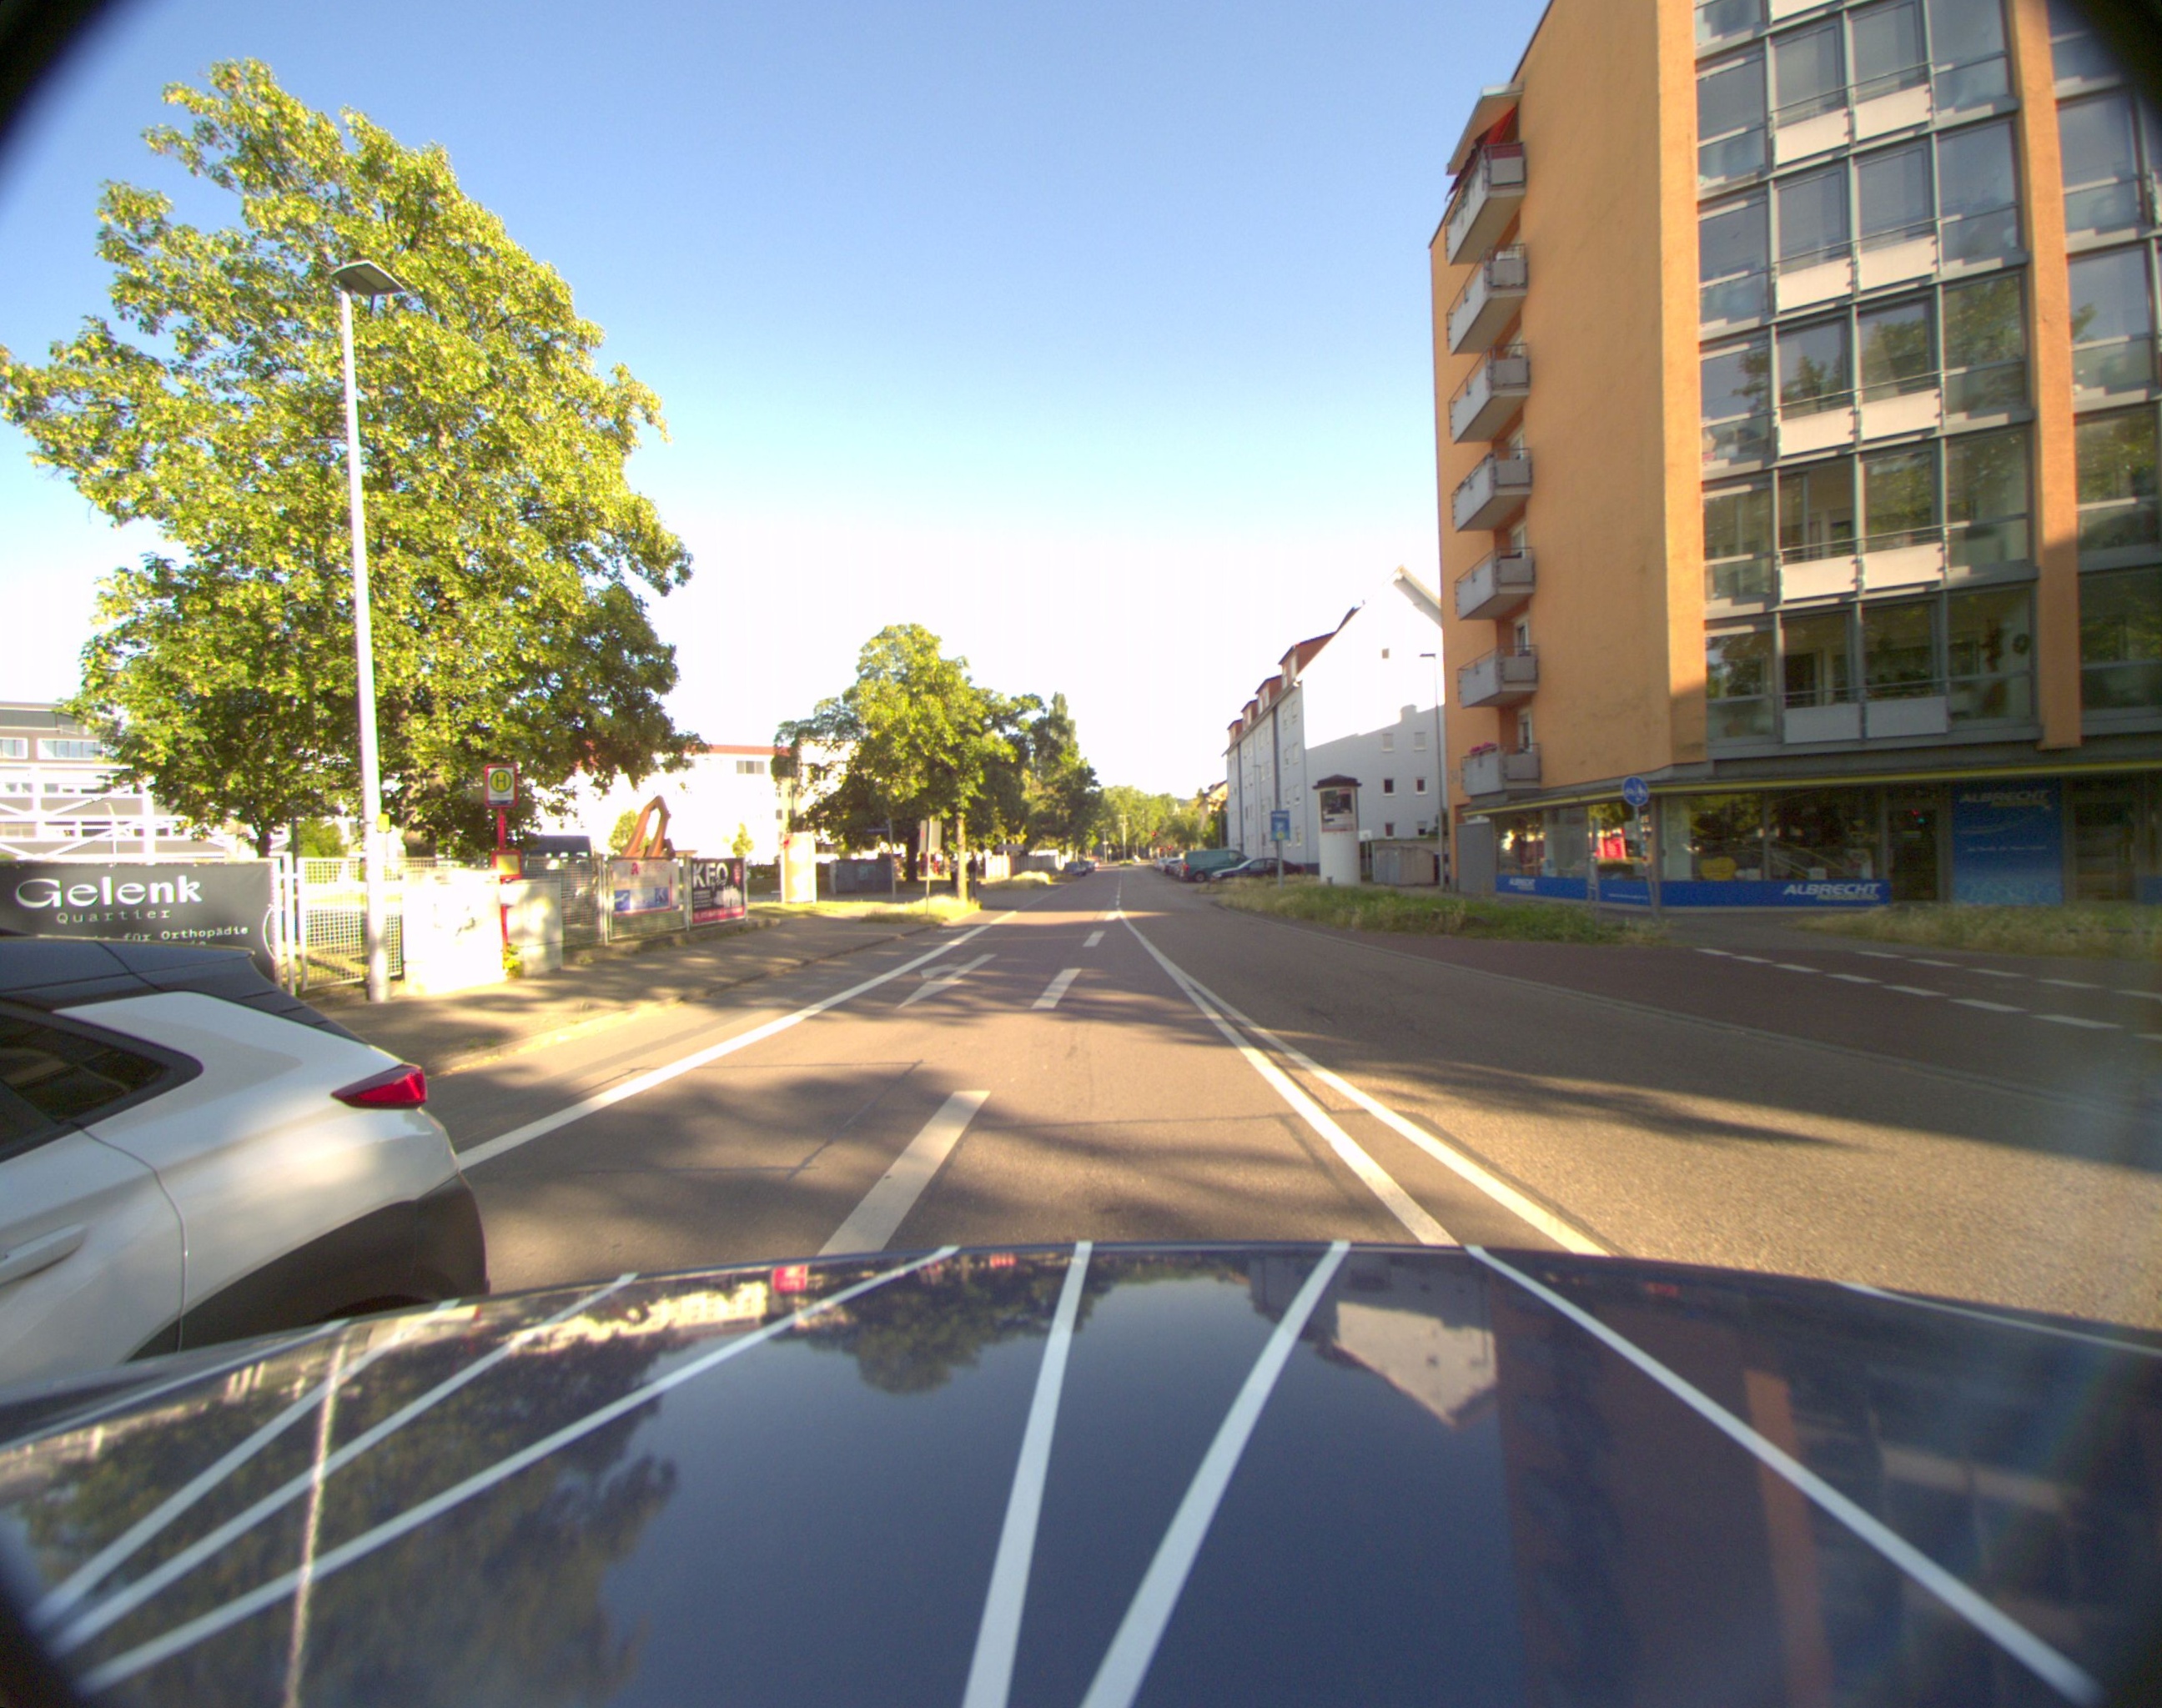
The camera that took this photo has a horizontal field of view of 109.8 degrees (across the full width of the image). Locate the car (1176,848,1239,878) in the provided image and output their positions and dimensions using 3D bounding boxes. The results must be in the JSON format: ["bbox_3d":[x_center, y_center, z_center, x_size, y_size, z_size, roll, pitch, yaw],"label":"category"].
[{"bbox_3d":[8.492,0.581,51.346,3.995,1.805,2.000,-2,1,5],"label":"car"}]

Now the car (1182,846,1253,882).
[{"bbox_3d":[8.186,0.588,45.942,3.996,1.936,2.000,-2,1,4],"label":"car"}]

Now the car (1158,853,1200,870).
[{"bbox_3d":[10.298,0.748,79.935,4.257,1.564,1.867,-2,1,5],"label":"car"}]

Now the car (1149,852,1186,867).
[{"bbox_3d":[10.213,0.636,90.193,4.257,1.564,1.867,-2,1,5],"label":"car"}]

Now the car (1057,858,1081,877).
[{"bbox_3d":[-1.099,1.211,69.599,1.998,1.521,3.999,-2,1,1],"label":"car"}]

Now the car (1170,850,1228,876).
[{"bbox_3d":[8.739,0.656,56.441,4.071,1.741,1.899,-2,1,5],"label":"car"}]

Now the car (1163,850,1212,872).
[{"bbox_3d":[9.266,0.601,66.491,4.117,1.762,1.757,-2,1,5],"label":"car"}]

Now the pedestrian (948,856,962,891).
[{"bbox_3d":[-6.384,0.968,38.530,0.609,1.727,0.638,-2,1,-5],"label":"pedestrian"}]

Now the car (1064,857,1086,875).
[{"bbox_3d":[-0.596,1.143,73.946,1.998,1.521,3.999,-2,1,1],"label":"car"}]

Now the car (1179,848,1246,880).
[{"bbox_3d":[8.348,0.617,48.590,3.995,1.805,2.000,-2,1,5],"label":"car"}]

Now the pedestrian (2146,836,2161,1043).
[{"bbox_3d":[9.627,0.701,6.081,0.903,1.727,1.086,-3,1,-21],"label":"pedestrian"}]

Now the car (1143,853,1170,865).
[{"bbox_3d":[10.456,0.694,105.246,3.538,1.564,1.867,-2,1,5],"label":"car"}]

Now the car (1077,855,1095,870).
[{"bbox_3d":[0.559,0.942,87.980,1.998,1.521,3.999,-2,1,1],"label":"car"}]

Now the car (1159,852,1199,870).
[{"bbox_3d":[10.250,0.717,80.070,4.071,1.741,1.899,-2,1,5],"label":"car"}]

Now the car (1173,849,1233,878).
[{"bbox_3d":[8.563,0.661,53.697,4.059,1.805,1.937,-2,1,5],"label":"car"}]

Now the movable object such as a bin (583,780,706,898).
[{"bbox_3d":[-22.236,-0.706,38.551,3.986,5.447,6.016,-3,1,-42],"label":"movable object such as a bin"}]

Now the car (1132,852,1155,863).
[{"bbox_3d":[9.691,0.578,118.226,3.538,1.564,1.867,-2,1,5],"label":"car"}]

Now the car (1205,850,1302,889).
[{"bbox_3d":[8.290,0.726,36.878,4.423,1.652,2.001,-2,1,9],"label":"car"}]

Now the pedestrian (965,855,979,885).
[{"bbox_3d":[-6.264,0.929,43.811,0.696,1.659,0.638,-2,1,-11],"label":"pedestrian"}]

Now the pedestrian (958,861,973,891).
[{"bbox_3d":[-5.784,1.105,38.020,0.609,1.426,0.639,-2,1,1],"label":"pedestrian"}]

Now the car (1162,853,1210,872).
[{"bbox_3d":[9.559,0.766,69.378,4.257,1.564,1.867,-2,1,5],"label":"car"}]
